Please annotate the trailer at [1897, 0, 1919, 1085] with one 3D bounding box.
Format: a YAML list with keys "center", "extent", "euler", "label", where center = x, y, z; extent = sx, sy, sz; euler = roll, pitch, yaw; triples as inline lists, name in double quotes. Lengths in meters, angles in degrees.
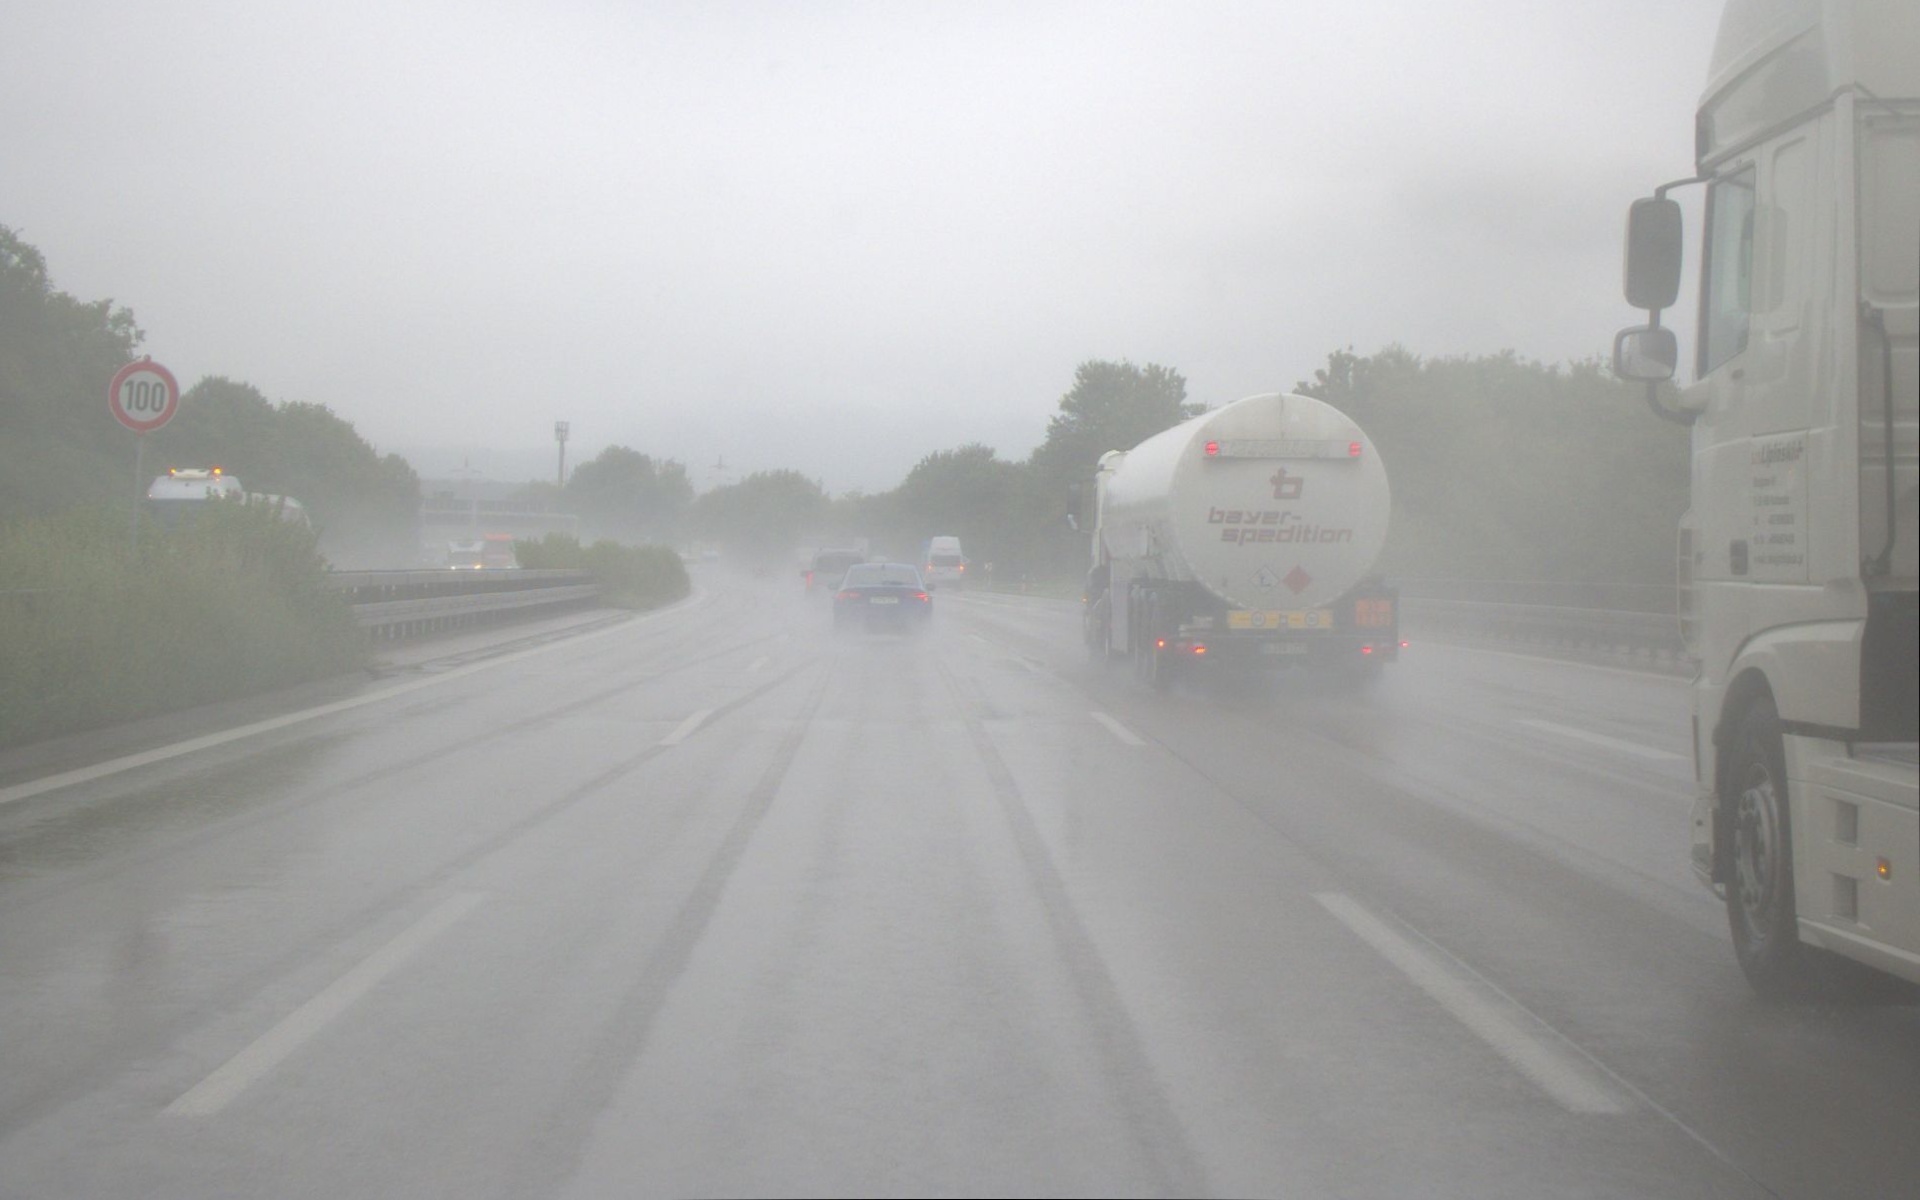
- center: [4.180, -0.412, 3.444]
  extent: [3.188, 3.657, 11.667]
  euler: [1, 1, 0]
  label: "trailer"

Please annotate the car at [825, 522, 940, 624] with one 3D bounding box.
- center: [-1.435, -0.520, 62.210]
  extent: [1.978, 1.750, 4.482]
  euler: [0, 1, -3]
  label: "car"

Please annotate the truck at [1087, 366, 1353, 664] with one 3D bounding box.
- center: [3.359, -1.102, 46.084]
  extent: [2.943, 3.671, 6.362]
  euler: [1, 1, -1]
  label: "truck"

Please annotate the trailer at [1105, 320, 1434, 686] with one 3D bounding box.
- center: [3.458, -1.088, 40.734]
  extent: [3.004, 3.834, 8.624]
  euler: [1, 1, 0]
  label: "trailer"

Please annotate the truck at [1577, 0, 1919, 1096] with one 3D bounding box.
- center: [4.106, -0.575, 10.193]
  extent: [3.104, 3.793, 7.213]
  euler: [1, 1, -1]
  label: "truck"
